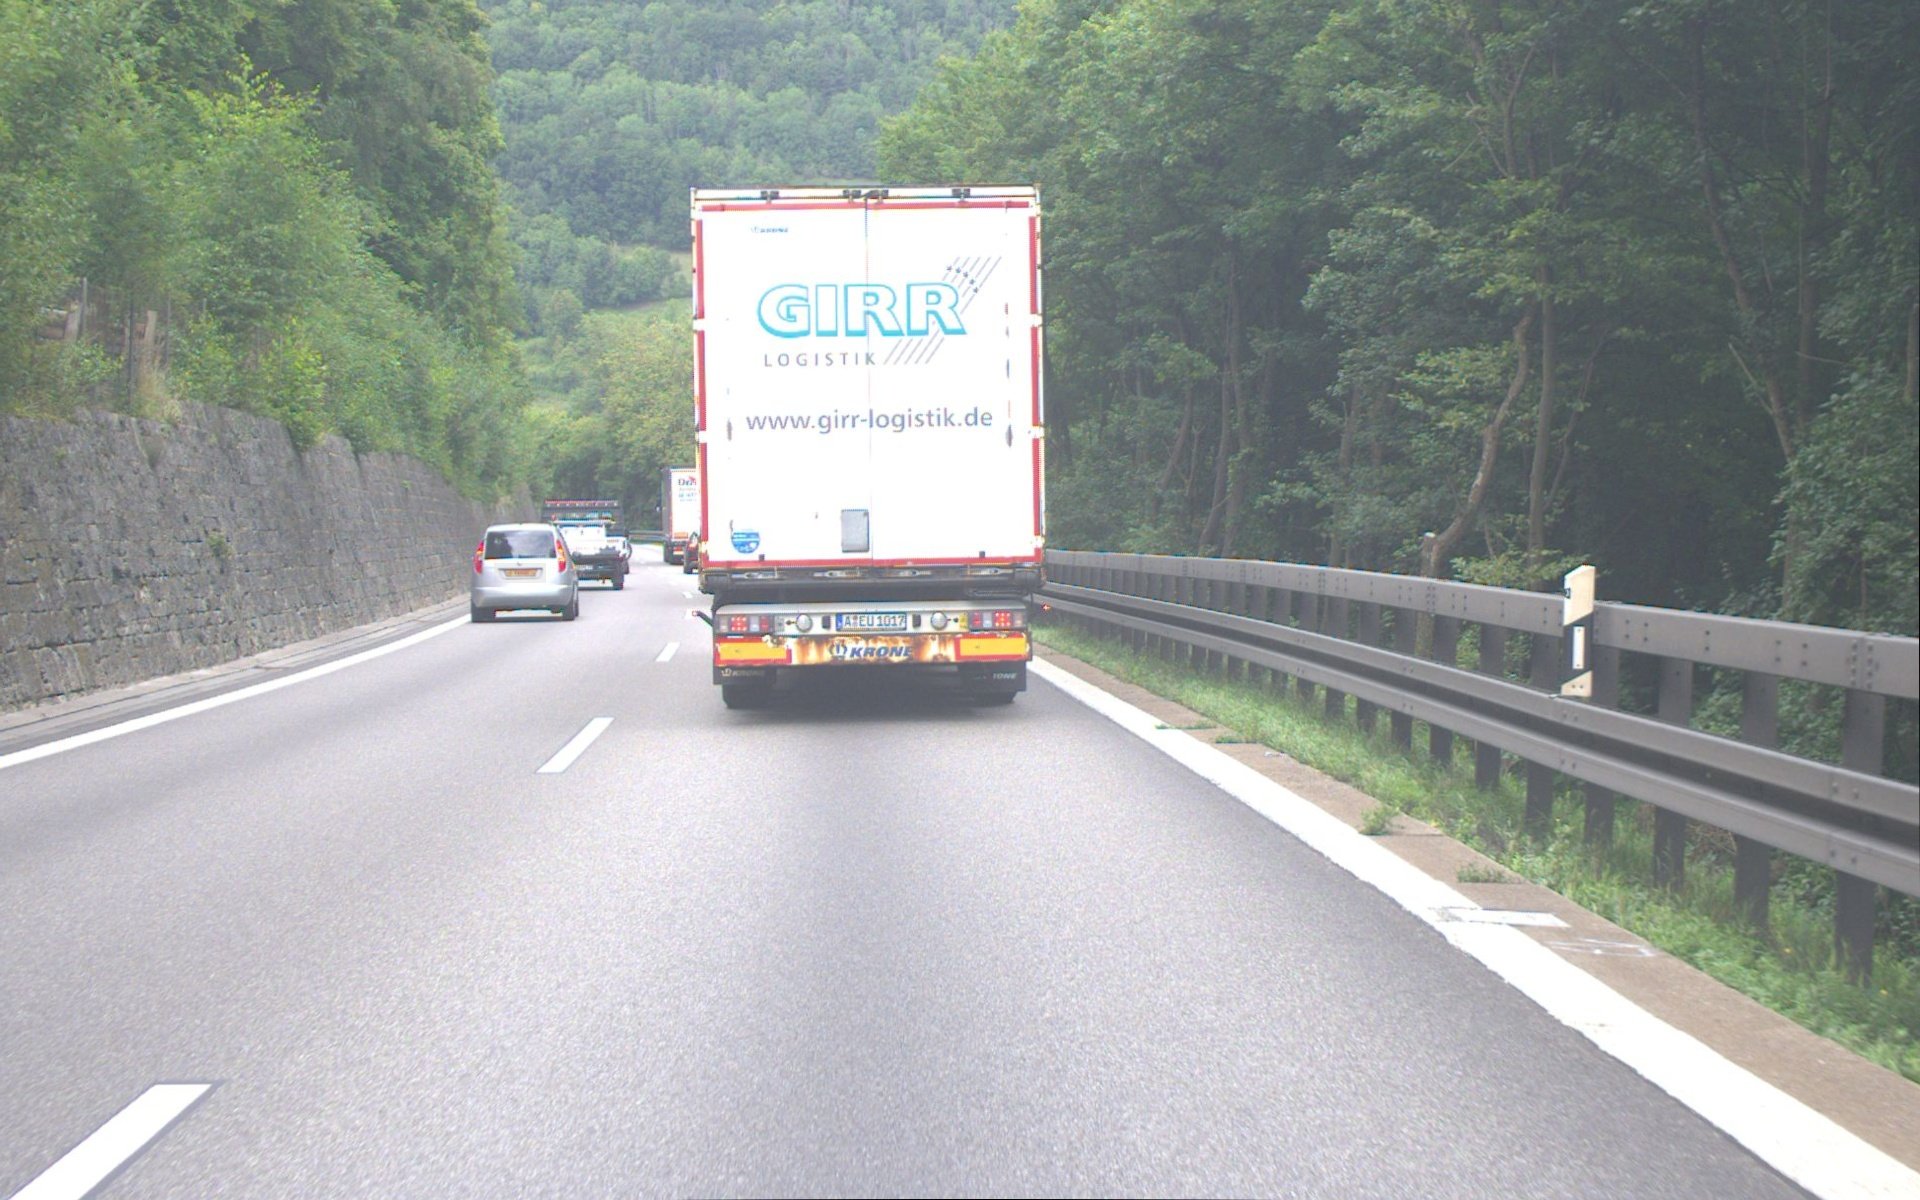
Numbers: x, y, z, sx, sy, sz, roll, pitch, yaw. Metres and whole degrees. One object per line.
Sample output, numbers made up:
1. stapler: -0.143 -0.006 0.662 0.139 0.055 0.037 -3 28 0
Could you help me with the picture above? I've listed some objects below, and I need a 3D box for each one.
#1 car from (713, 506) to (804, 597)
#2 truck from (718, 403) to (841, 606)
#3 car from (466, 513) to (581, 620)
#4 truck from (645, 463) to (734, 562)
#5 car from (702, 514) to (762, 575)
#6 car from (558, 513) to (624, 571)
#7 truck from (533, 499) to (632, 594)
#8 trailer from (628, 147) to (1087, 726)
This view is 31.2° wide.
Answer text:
1. car: -4.653 -1.116 79.392 1.993 2.007 4.334 1 1 -3
2. truck: -3.582 -1.851 68.562 2.233 3.791 6.824 1 1 -3
3. car: -7.274 -0.576 57.598 1.634 1.720 4.345 0 1 -4
4. truck: -11.123 -3.531 140.725 3.068 3.864 8.460 1 1 -8
5. car: -7.816 -1.909 117.622 1.993 2.007 4.001 1 1 -4
6. car: -12.730 -2.016 118.874 2.018 1.907 5.564 1 1 -4
7. truck: -9.533 -1.382 87.152 2.348 2.266 6.851 1 1 -6
8. trailer: -0.929 -1.289 29.504 3.132 4.029 9.441 3 1 -2
